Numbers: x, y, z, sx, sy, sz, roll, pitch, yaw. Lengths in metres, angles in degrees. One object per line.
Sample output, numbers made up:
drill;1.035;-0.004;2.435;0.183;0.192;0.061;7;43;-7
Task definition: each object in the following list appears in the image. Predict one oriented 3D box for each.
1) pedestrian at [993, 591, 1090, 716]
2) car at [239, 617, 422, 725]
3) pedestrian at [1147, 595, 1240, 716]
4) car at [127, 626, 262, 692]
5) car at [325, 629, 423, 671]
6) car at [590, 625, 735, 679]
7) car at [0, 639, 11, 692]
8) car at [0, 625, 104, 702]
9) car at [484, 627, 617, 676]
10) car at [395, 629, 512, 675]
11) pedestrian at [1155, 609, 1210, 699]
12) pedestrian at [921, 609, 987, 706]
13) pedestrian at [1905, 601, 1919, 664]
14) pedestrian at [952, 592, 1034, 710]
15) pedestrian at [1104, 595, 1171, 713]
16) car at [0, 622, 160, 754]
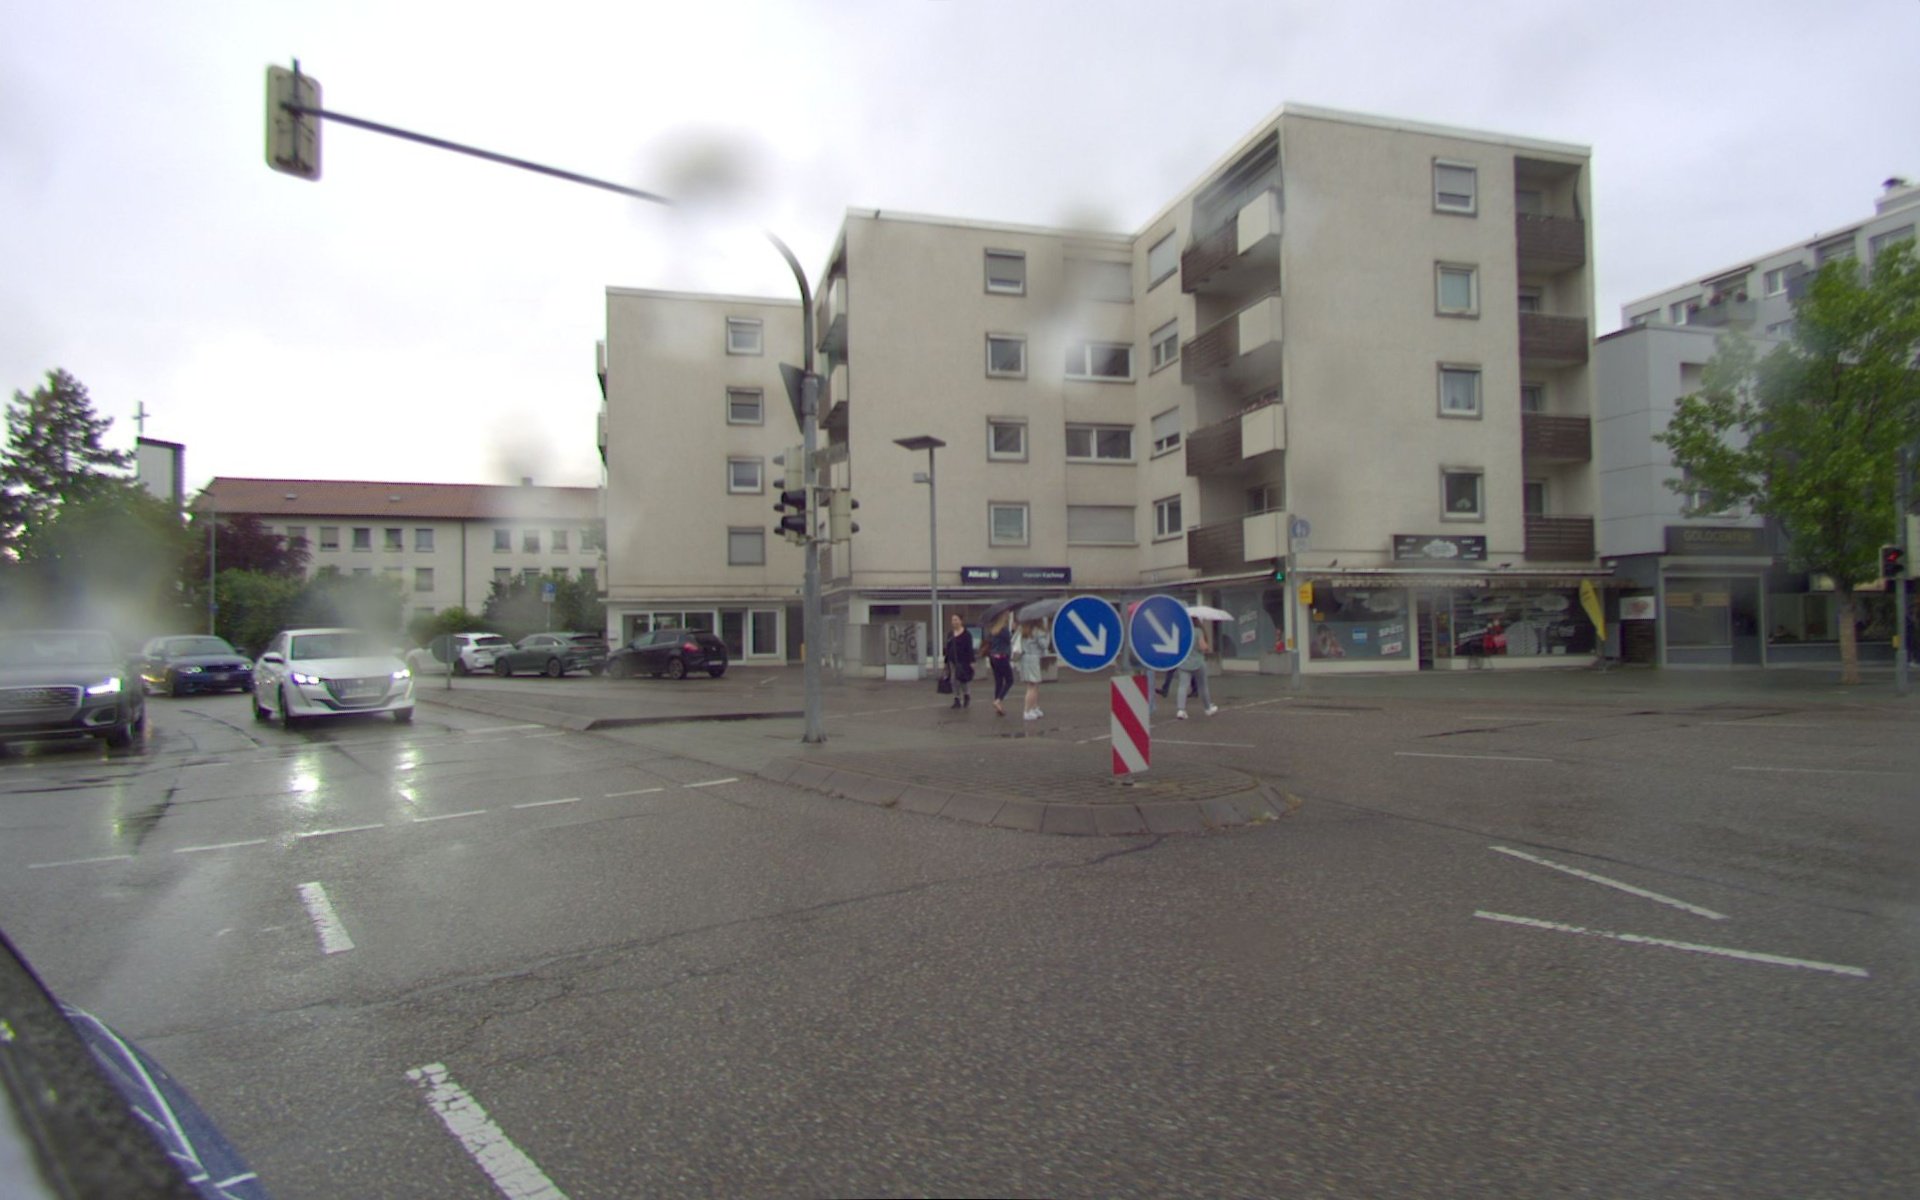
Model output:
pedestrian;1.202;0.763;14.887;1.120;1.757;0.861;1;-2;-41
car;-9.959;1.051;15.887;1.718;1.420;3.900;-2;-1;-43
pedestrian;3.402;0.794;14.775;0.923;1.690;0.918;1;-2;-38
car;-18.729;1.386;24.723;3.808;1.466;1.729;-1;-2;38
car;-22.544;1.889;38.888;3.866;1.517;1.617;-2;-2;31
car;-8.950;1.530;30.352;4.172;1.471;1.818;-2;-1;31
car;-27.234;1.766;27.494;3.972;1.379;1.777;-1;-2;42
car;-20.482;1.398;22.501;4.062;1.540;1.710;-3;-3;42
car;-13.416;1.661;33.125;4.257;1.445;1.819;-2;-1;30
car;-17.941;1.816;35.812;4.330;1.511;1.621;-2;-2;31
pedestrian;4.264;1.020;19.373;0.812;1.668;0.707;-2;-2;31
pedestrian;-0.098;0.955;17.168;0.913;1.597;0.648;-2;-2;42
pedestrian;26.770;0.904;28.185;0.492;1.737;0.450;0;-2;-21
pedestrian;0.506;0.772;15.602;0.824;1.749;0.954;1;-2;-45
pedestrian;2.634;0.784;15.039;0.803;1.698;0.667;-1;-2;29
car;-11.754;1.033;13.144;1.706;1.455;4.058;0;-1;-32
